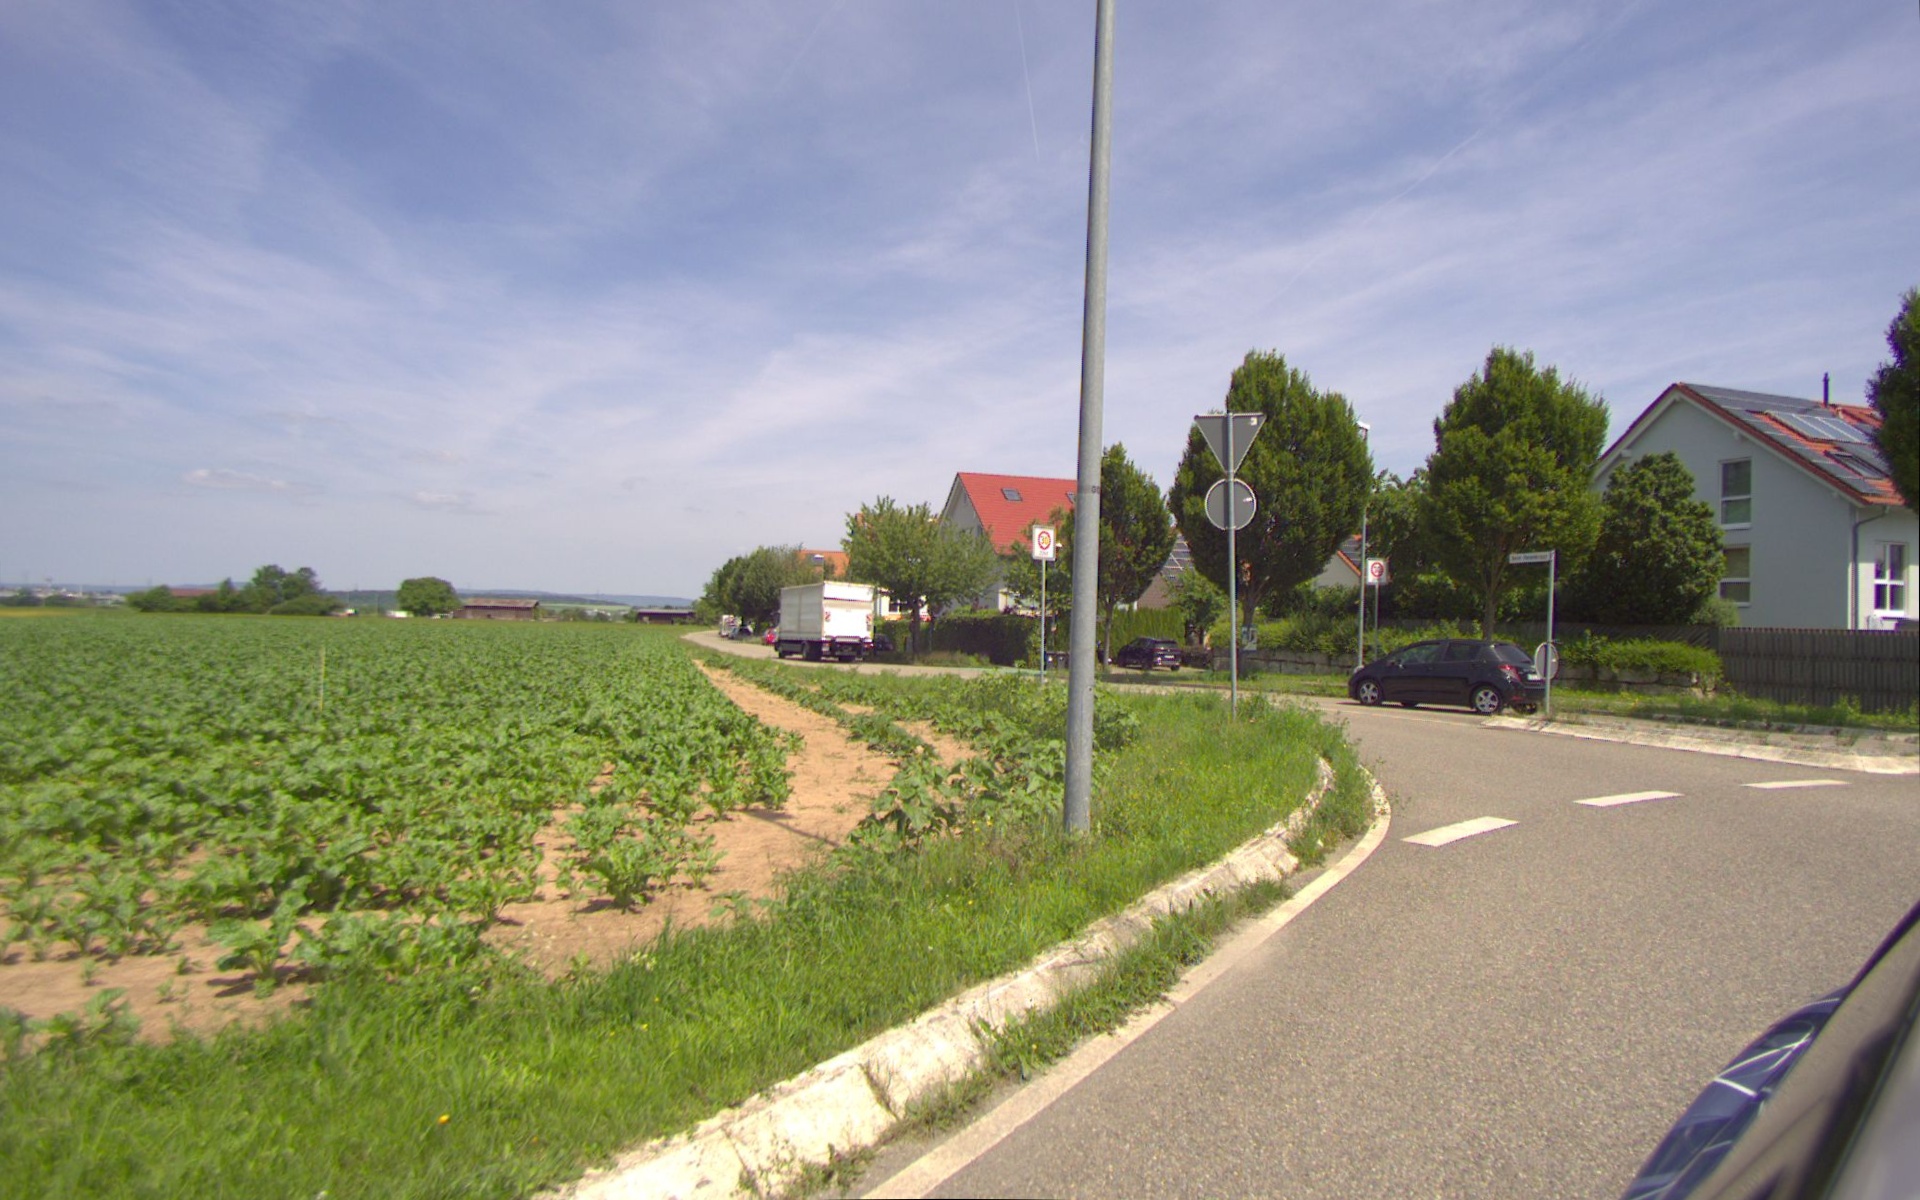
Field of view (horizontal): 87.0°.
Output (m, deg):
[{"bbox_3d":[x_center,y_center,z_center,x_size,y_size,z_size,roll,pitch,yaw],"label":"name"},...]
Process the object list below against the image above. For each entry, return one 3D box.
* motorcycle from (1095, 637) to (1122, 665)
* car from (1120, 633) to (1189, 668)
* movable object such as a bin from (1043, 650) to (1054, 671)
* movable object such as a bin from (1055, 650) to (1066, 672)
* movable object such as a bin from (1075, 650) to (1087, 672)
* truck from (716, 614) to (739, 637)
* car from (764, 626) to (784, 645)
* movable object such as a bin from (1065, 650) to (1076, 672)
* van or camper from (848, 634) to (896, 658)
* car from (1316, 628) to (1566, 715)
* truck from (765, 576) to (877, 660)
[{"bbox_3d":[7.489,2.562,51.197,0.833,1.365,1.664,1,-1,-10],"label":"motorcycle"},{"bbox_3d":[9.700,2.512,50.708,1.676,1.572,4.008,2,-1,-17],"label":"car"},{"bbox_3d":[4.150,2.826,47.385,0.432,0.979,0.499,2,-2,-4],"label":"movable object such as a bin"},{"bbox_3d":[4.704,2.844,47.426,0.432,0.979,0.499,2,-2,-4],"label":"movable object such as a bin"},{"bbox_3d":[5.691,2.875,47.506,0.432,0.979,0.499,2,-2,-4],"label":"movable object such as a bin"},{"bbox_3d":[-30.029,3.273,130.628,2.061,2.925,6.790,2,-2,-20],"label":"truck"},{"bbox_3d":[-16.108,3.060,87.650,1.491,1.402,3.495,2,1,-14],"label":"car"},{"bbox_3d":[5.182,2.859,47.457,0.432,0.979,0.499,2,-2,-4],"label":"movable object such as a bin"},{"bbox_3d":[-4.663,2.419,53.359,1.564,1.236,3.691,2,-3,-21],"label":"van or camper"},{"bbox_3d":[9.752,1.400,20.865,1.646,1.483,4.433,3,-2,-34],"label":"car"},{"bbox_3d":[-7.056,0.993,50.075,2.718,3.719,9.394,3,-3,-25],"label":"truck"}]
